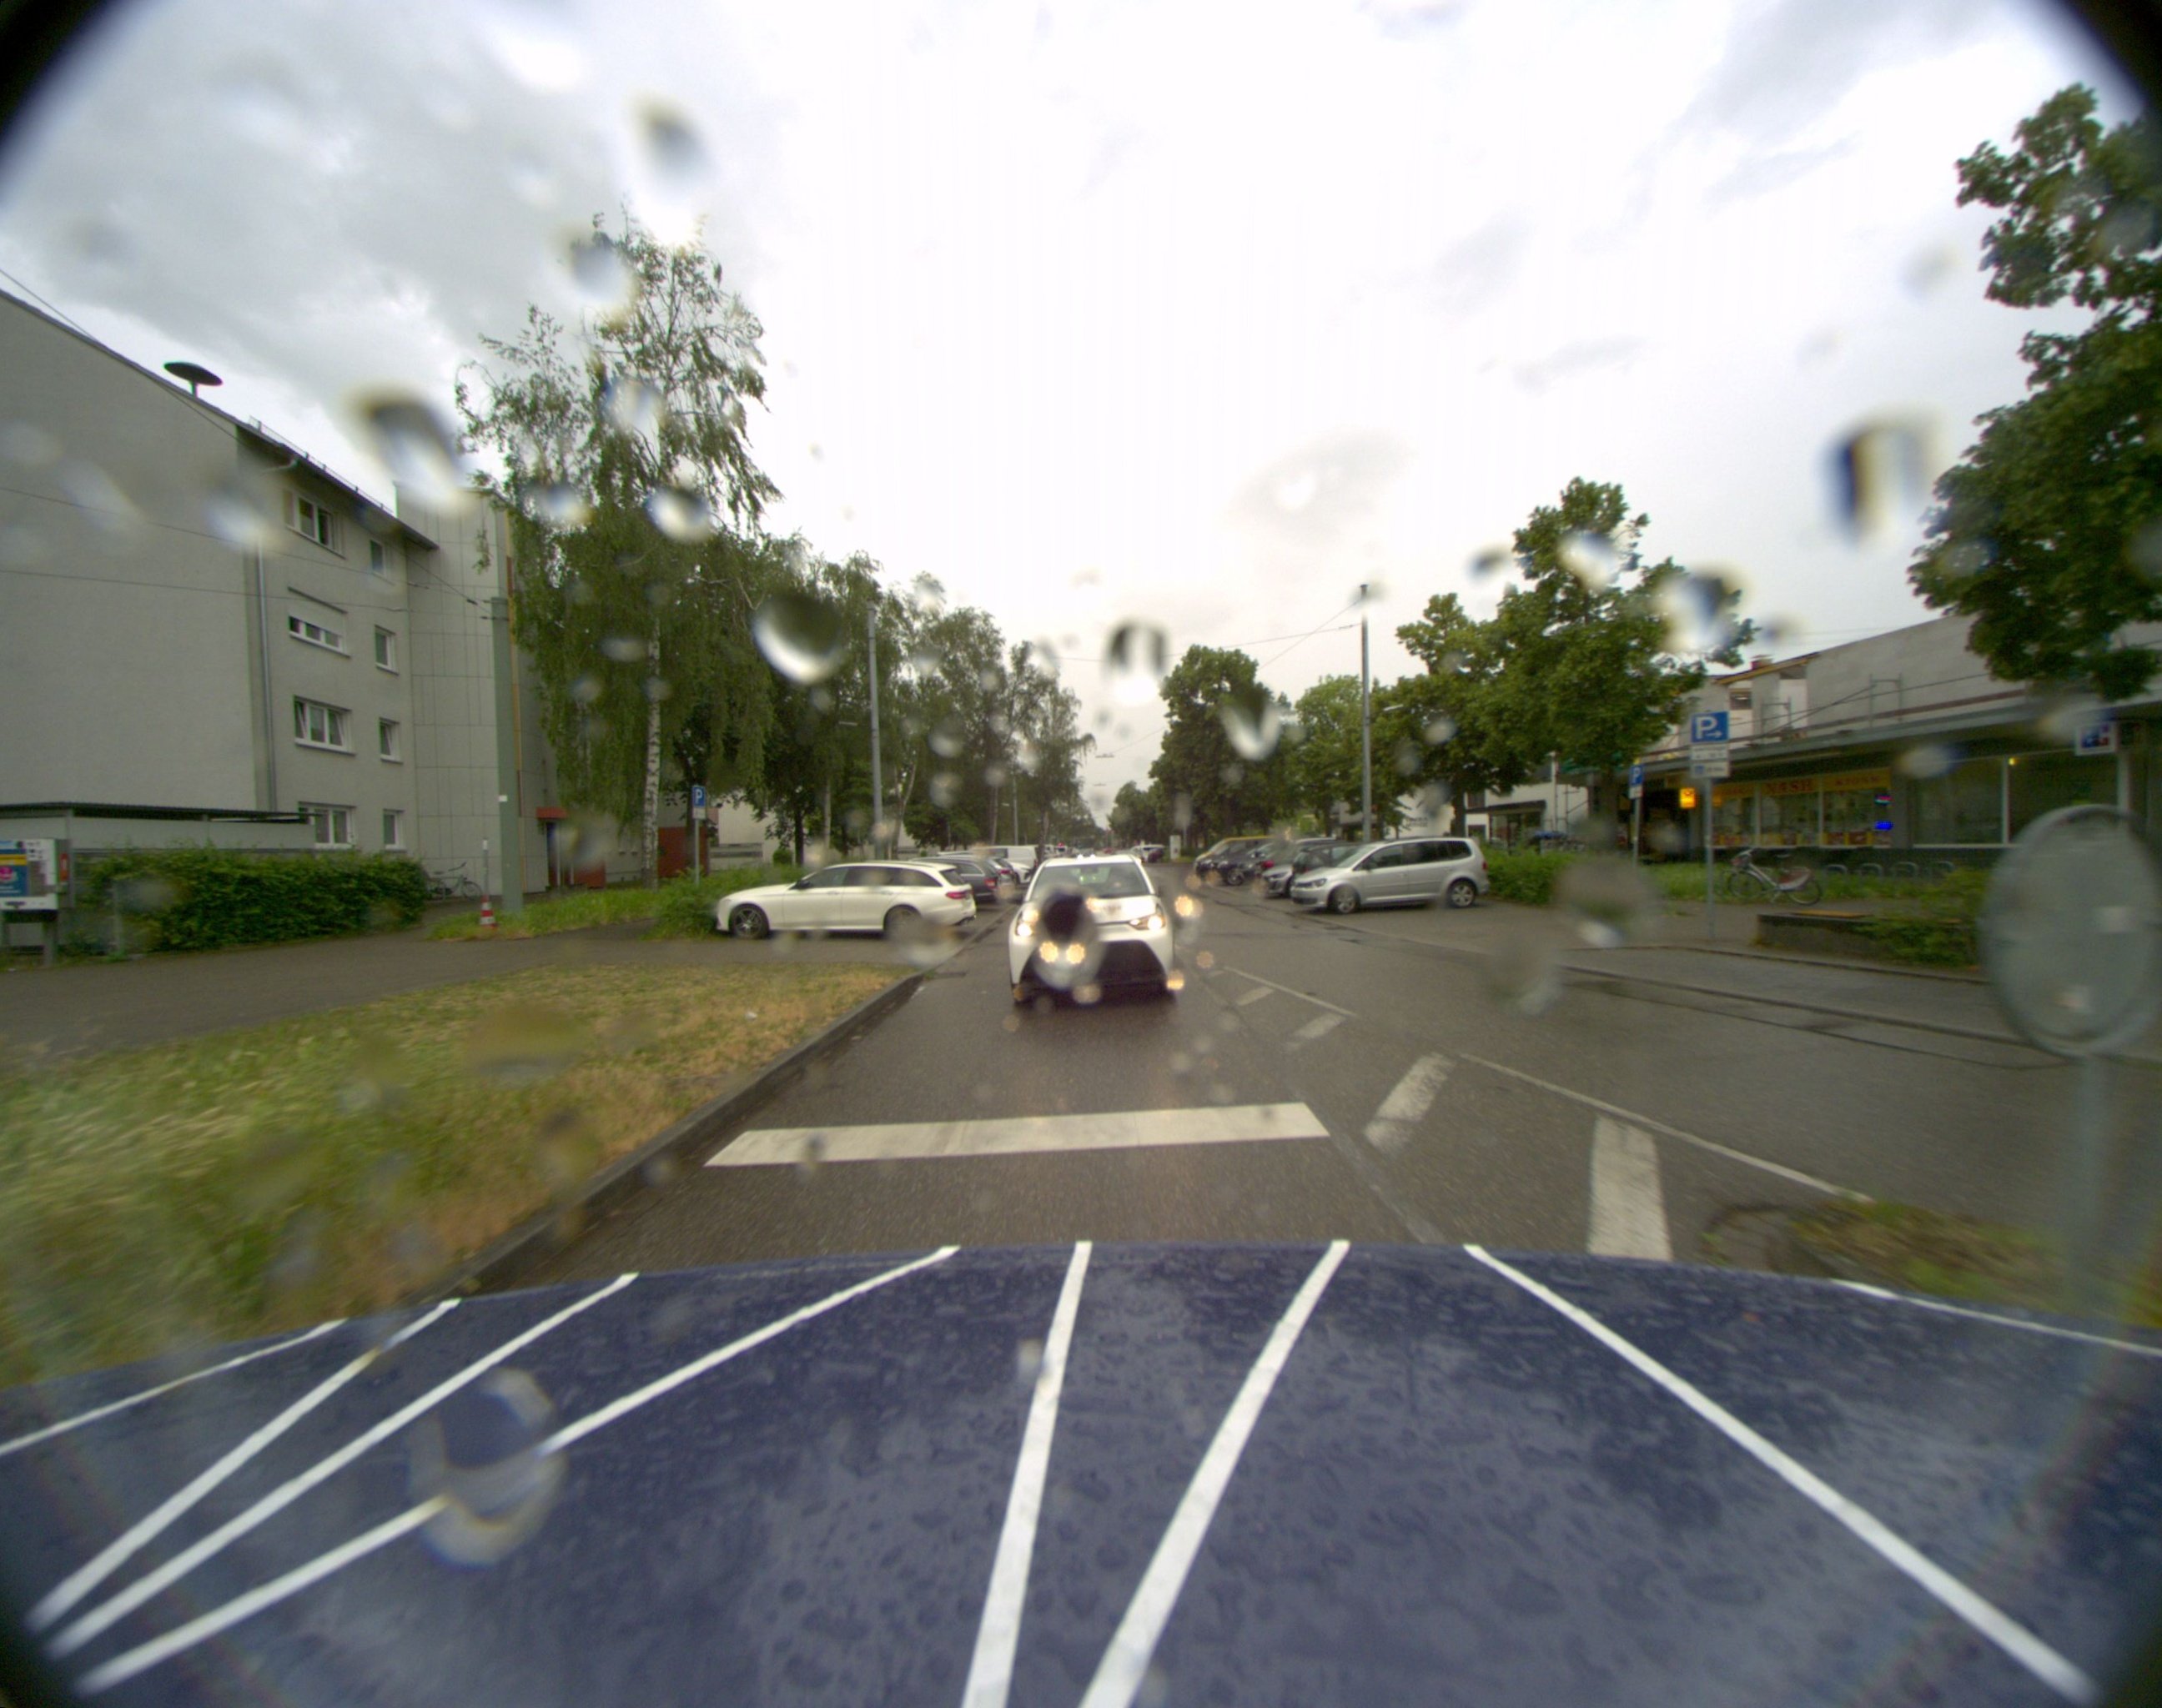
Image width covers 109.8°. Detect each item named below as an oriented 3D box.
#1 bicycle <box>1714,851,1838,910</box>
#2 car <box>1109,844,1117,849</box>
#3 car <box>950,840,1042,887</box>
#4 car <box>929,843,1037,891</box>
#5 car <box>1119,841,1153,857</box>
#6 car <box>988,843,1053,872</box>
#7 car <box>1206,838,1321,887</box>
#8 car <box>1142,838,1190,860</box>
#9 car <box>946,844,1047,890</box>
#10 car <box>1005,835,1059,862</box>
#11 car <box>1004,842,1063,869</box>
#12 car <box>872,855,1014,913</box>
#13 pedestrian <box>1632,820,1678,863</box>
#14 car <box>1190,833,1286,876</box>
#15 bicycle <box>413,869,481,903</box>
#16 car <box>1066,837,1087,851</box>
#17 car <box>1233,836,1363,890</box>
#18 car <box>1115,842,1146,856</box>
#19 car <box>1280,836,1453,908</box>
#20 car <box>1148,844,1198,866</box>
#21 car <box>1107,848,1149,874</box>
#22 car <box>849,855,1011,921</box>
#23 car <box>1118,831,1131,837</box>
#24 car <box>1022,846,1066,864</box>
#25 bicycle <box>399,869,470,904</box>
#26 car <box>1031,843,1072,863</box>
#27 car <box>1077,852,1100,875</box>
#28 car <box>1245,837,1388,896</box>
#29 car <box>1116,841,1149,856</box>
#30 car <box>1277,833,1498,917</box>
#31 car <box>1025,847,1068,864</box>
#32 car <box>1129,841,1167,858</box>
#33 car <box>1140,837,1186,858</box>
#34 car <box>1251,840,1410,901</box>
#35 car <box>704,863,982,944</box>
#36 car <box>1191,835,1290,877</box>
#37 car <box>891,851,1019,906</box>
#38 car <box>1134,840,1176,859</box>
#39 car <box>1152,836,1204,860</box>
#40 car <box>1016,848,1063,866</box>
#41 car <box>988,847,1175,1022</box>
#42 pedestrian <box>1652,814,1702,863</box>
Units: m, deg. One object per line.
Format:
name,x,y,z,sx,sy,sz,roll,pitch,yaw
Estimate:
bicycle,13.585,0.488,14.920,0.594,1.066,1.748,-1,1,-17
car,9.322,-2.226,221.400,1.998,1.320,3.999,-4,1,1
car,-4.319,0.459,39.112,4.443,2.050,1.722,-4,1,-2
car,-4.307,0.556,33.823,4.441,1.835,1.723,-4,1,2
car,7.645,-0.702,106.568,4.546,1.932,1.898,-3,1,-1
car,-4.419,0.238,56.050,4.546,1.932,1.898,-3,1,-1
car,7.256,0.306,30.543,4.088,1.699,1.898,-3,1,-1
car,8.531,-0.536,76.374,4.546,1.932,1.898,-3,1,-1
car,-3.978,0.596,36.157,4.441,1.835,1.723,-4,1,2
car,-4.208,-0.499,65.737,4.443,2.050,1.722,-4,1,-2
car,-3.831,0.114,61.405,4.546,1.932,1.898,-3,1,-1
car,-4.217,0.901,23.636,3.996,1.477,1.723,-4,1,2
pedestrian,21.446,-0.468,28.411,1.078,1.575,0.948,-1,2,11
car,8.094,0.019,39.495,4.546,1.932,1.898,-3,1,-1
bicycle,-19.337,0.968,23.191,1.476,0.946,0.532,-2,1,-13
car,-1.071,-2.340,176.979,4.546,2.929,1.898,-3,1,-1
car,7.775,0.303,27.451,4.088,1.699,1.898,-3,1,-1
car,7.443,-0.804,115.146,4.546,1.932,1.898,-3,1,-1
car,7.604,0.451,20.509,3.945,1.664,1.793,-3,1,-1
car,8.894,0.101,73.847,4.546,1.932,1.898,-3,1,-1
car,3.234,0.453,52.862,1.964,1.545,3.995,-3,3,-10
car,-4.098,0.899,21.050,3.996,1.477,1.723,-4,1,2
car,14.042,-6.336,243.451,3.997,1.688,2.000,-4,1,1
car,-3.867,0.085,80.137,4.546,1.574,1.898,-3,1,-1
bicycle,-19.209,0.970,22.590,1.476,0.946,0.532,-2,1,-13
car,-3.366,-0.148,87.260,4.546,2.013,1.898,-3,1,-1
car,0.719,0.864,73.450,1.999,2.002,3.999,-4,1,0
car,7.742,0.393,25.268,4.088,1.699,1.898,-3,1,-1
car,7.521,-0.747,110.324,4.546,1.932,1.898,-3,1,-1
car,7.064,0.454,17.865,4.335,1.664,2.000,-3,1,-1
car,-3.792,0.164,83.366,4.546,1.574,1.898,-3,1,-1
car,8.476,-0.594,96.705,4.546,1.932,1.898,-3,1,-1
car,8.709,-0.685,81.006,4.546,1.932,1.898,-3,1,-1
car,7.441,0.458,22.938,4.088,1.562,2.000,-3,1,-1
car,-4.540,0.924,15.032,4.838,1.449,2.000,0,1,1
car,7.610,0.084,36.601,4.302,1.799,1.898,-3,1,-1
car,-4.286,0.820,26.233,3.996,1.577,1.723,-4,1,2
car,8.587,-0.488,88.511,4.546,1.932,1.898,-3,1,0
car,9.022,-0.560,71.061,4.546,1.932,1.898,-3,1,-1
car,-4.184,0.302,76.940,4.546,1.574,1.898,-3,1,-1
car,0.116,0.804,9.089,1.719,1.614,3.716,-2,-1,4
pedestrian,21.250,-0.553,27.103,1.078,1.704,0.948,-1,2,11
